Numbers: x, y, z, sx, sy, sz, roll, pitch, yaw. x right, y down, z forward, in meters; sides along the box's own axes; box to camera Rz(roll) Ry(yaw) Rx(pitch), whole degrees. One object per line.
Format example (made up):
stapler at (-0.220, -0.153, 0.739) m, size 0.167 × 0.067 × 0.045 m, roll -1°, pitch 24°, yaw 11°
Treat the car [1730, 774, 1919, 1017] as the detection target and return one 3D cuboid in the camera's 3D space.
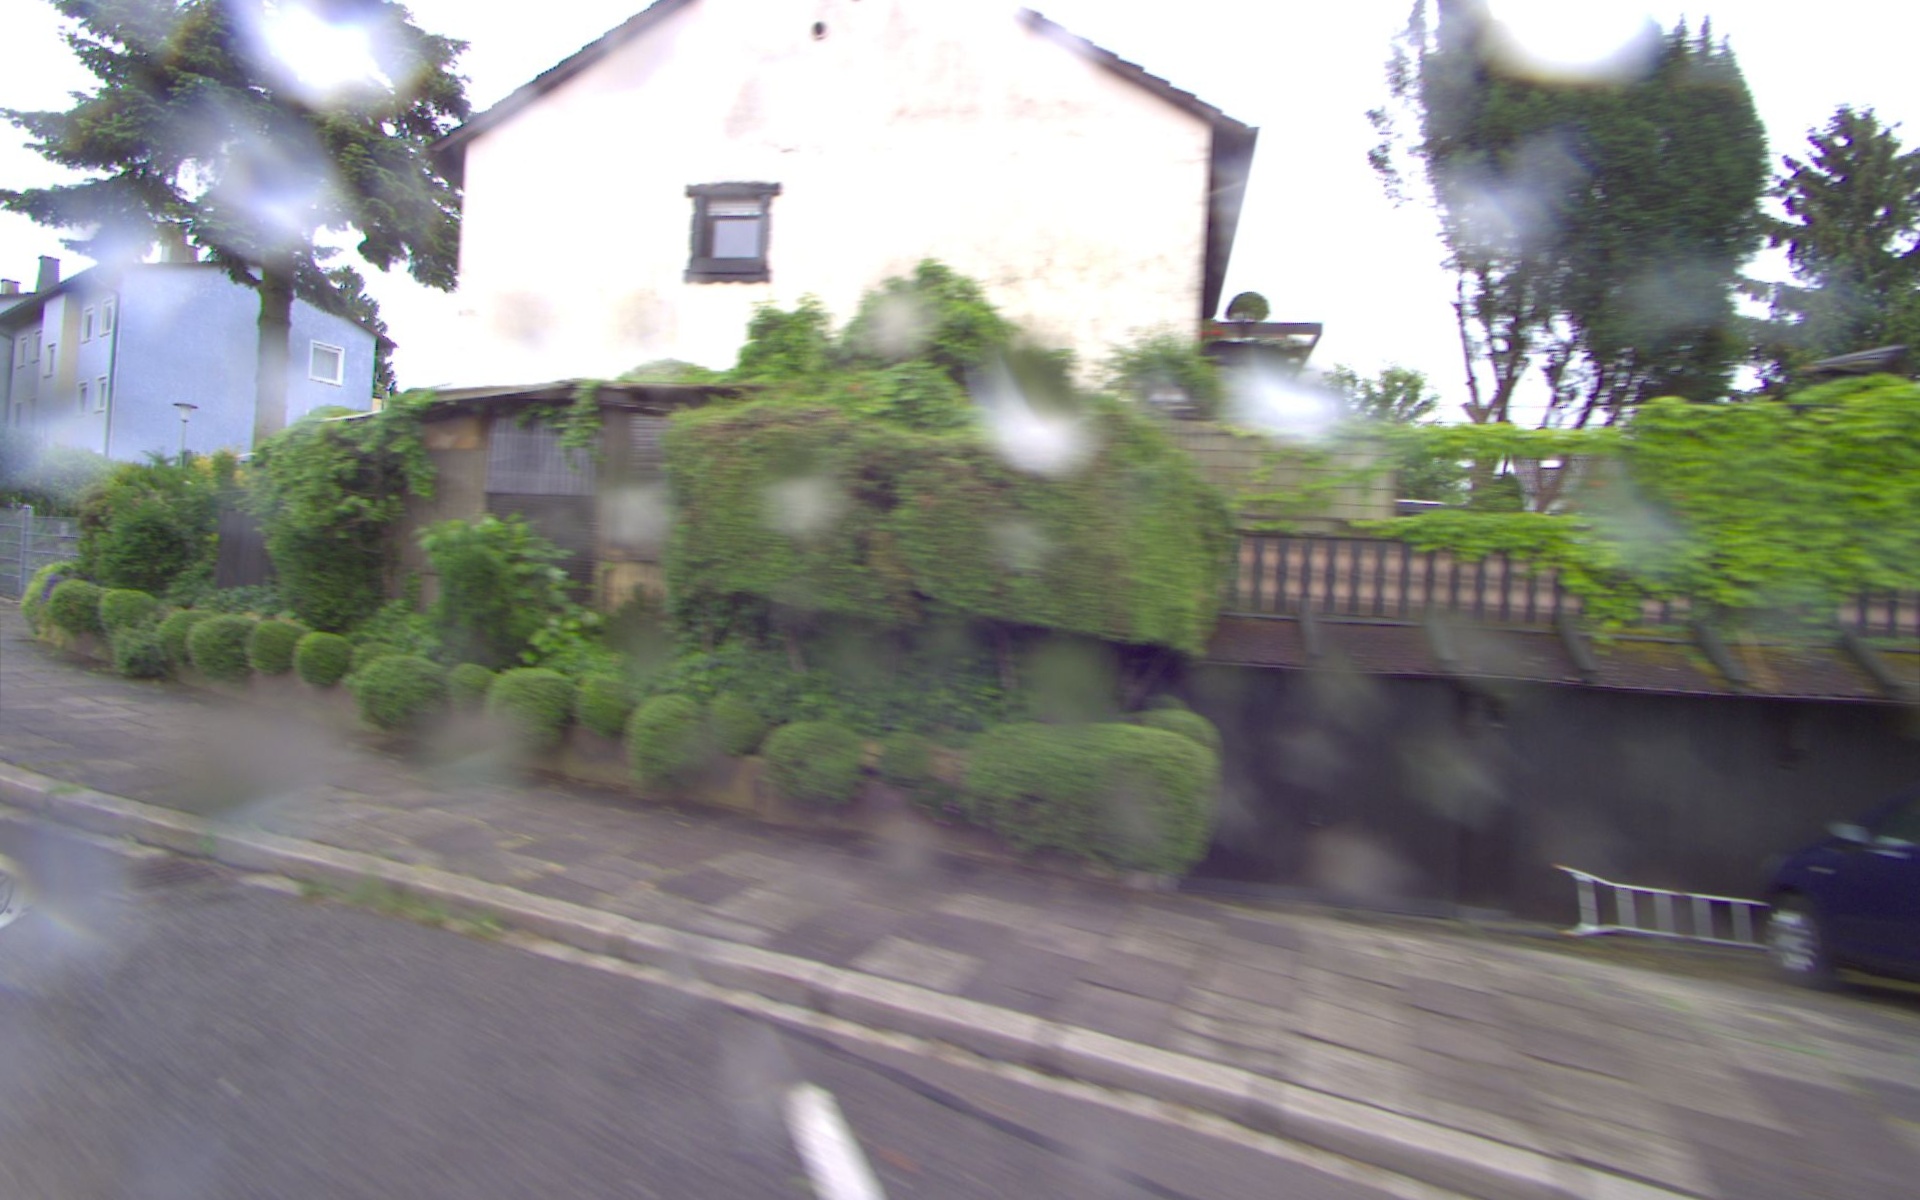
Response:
car at (6.133, 1.706, 5.325) m, size 1.738 × 1.309 × 3.724 m, roll 6°, pitch -8°, yaw 11°
